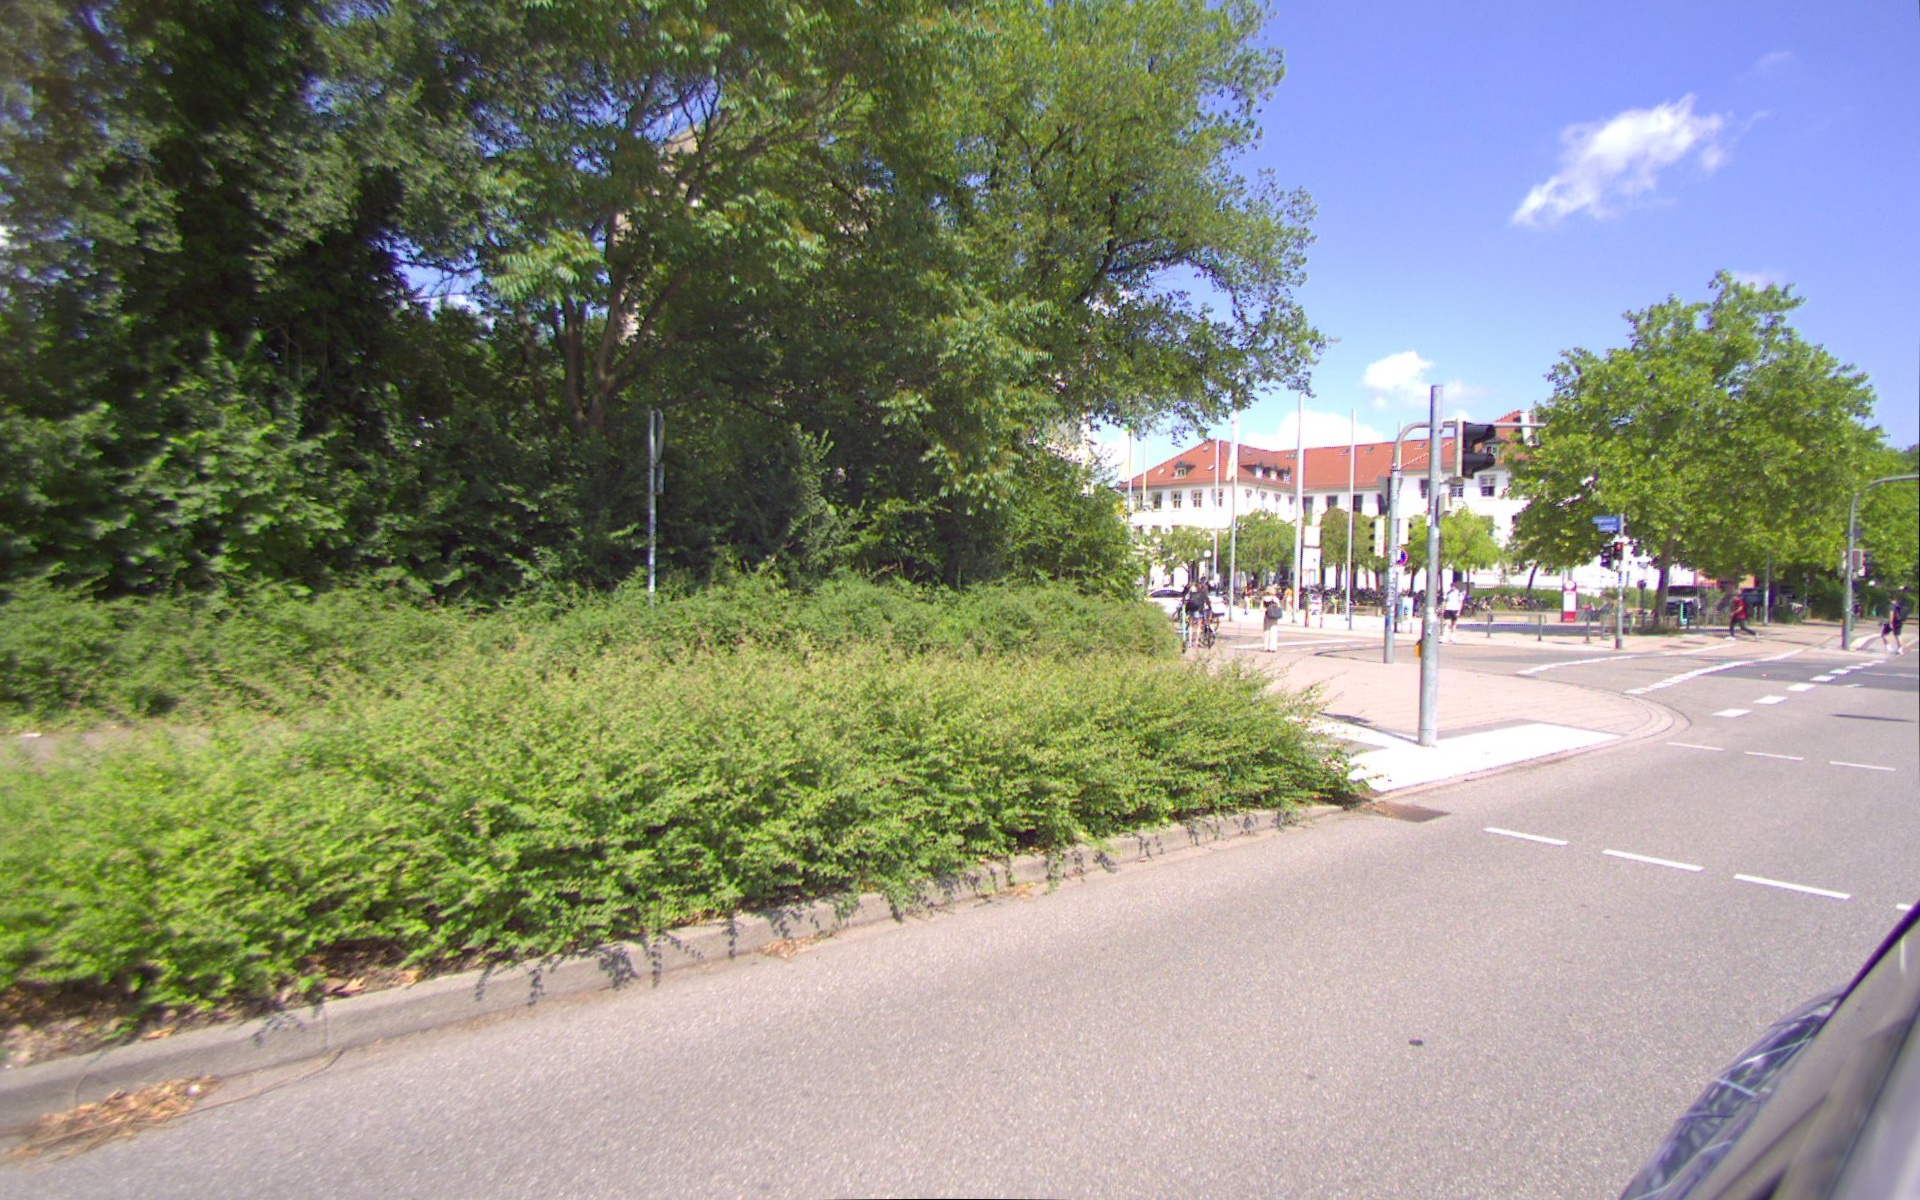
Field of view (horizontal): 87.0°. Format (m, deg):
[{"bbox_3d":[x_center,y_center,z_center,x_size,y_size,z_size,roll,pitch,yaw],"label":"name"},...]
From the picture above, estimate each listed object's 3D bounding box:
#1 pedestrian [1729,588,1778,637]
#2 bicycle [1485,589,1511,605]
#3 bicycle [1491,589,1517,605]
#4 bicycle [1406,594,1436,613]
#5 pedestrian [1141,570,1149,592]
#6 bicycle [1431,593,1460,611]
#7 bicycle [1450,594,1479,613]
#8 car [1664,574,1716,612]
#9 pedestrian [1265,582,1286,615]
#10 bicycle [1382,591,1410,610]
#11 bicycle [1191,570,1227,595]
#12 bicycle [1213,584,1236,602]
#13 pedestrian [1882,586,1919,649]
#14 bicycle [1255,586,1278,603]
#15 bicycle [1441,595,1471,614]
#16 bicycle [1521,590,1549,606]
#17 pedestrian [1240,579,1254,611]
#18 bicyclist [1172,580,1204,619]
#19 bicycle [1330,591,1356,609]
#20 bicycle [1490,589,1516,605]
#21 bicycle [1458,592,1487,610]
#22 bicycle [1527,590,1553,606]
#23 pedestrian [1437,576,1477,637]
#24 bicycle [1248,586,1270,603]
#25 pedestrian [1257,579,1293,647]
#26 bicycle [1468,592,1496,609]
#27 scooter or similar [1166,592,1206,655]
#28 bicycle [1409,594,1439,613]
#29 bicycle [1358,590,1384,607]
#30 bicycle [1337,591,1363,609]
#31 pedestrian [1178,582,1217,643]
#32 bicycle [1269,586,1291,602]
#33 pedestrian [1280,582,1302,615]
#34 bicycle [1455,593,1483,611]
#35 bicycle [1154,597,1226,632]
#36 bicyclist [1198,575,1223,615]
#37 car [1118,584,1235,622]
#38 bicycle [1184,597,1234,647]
[{"bbox_3d":[26.970,0.410,34.412,1.051,1.617,0.964,1,1,23],"label":"pedestrian"},{"bbox_3d":[34.256,-0.183,64.490,1.425,0.963,0.346,2,1,45],"label":"bicycle"},{"bbox_3d":[35.058,-0.201,65.183,1.425,0.963,0.346,2,1,45],"label":"bicycle"},{"bbox_3d":[24.102,0.184,52.881,1.368,0.963,0.346,2,1,45],"label":"bicycle"},{"bbox_3d":[13.374,-1.359,73.136,0.464,1.554,0.563,0,1,-3],"label":"pedestrian"},{"bbox_3d":[25.894,0.101,53.989,1.368,0.963,0.346,2,1,45],"label":"bicycle"},{"bbox_3d":[27.162,0.190,54.496,1.368,0.963,0.346,2,1,45],"label":"bicycle"},{"bbox_3d":[41.278,-0.413,57.211,1.992,2.080,4.166,2,1,41],"label":"car"},{"bbox_3d":[16.081,-0.073,51.555,0.670,1.642,0.837,0,1,-14],"label":"pedestrian"},{"bbox_3d":[23.674,0.032,54.998,1.368,1.013,0.346,2,1,45],"label":"bicycle"},{"bbox_3d":[11.815,-0.827,48.061,0.676,1.148,2.059,1,1,-16],"label":"bicycle"},{"bbox_3d":[16.404,-0.441,62.845,1.365,1.087,0.347,2,1,39],"label":"bicycle"},{"bbox_3d":[30.359,0.547,32.304,0.952,1.950,1.034,0,1,-24],"label":"pedestrian"},{"bbox_3d":[18.637,-0.340,61.532,0.345,0.963,1.371,0,1,-36],"label":"bicycle"},{"bbox_3d":[26.541,0.219,54.156,1.368,0.963,0.346,2,1,45],"label":"bicycle"},{"bbox_3d":[35.889,-0.133,63.184,1.425,0.963,0.346,2,1,45],"label":"bicycle"},{"bbox_3d":[14.529,-0.236,51.235,0.528,1.610,0.436,1,1,-4],"label":"pedestrian"},{"bbox_3d":[7.306,-0.017,32.479,0.828,1.241,0.611,1,1,33],"label":"bicyclist"},{"bbox_3d":[21.619,-0.015,57.149,0.345,0.963,1.371,0,1,-36],"label":"bicycle"},{"bbox_3d":[34.789,-0.192,64.876,1.425,0.963,0.346,2,1,45],"label":"bicycle"},{"bbox_3d":[28.645,0.051,56.551,1.368,0.963,0.346,2,1,45],"label":"bicycle"},{"bbox_3d":[36.646,-0.153,63.948,1.425,0.963,0.346,2,1,45],"label":"bicycle"},{"bbox_3d":[15.971,0.191,32.536,0.956,1.896,0.877,0,1,-45],"label":"pedestrian"},{"bbox_3d":[18.069,-0.328,61.179,0.345,0.963,1.371,0,1,-36],"label":"bicycle"},{"bbox_3d":[7.743,0.319,24.920,0.632,1.646,0.636,0,1,-5],"label":"pedestrian"},{"bbox_3d":[29.523,0.017,57.278,1.368,0.963,0.346,2,1,45],"label":"bicycle"},{"bbox_3d":[4.772,0.483,21.416,0.428,1.249,1.232,3,1,-4],"label":"scooter or similar"},{"bbox_3d":[24.453,0.170,53.330,1.368,0.958,0.346,2,1,45],"label":"bicycle"},{"bbox_3d":[24.513,-0.113,60.343,1.366,0.963,0.347,2,1,42],"label":"bicycle"},{"bbox_3d":[22.059,-0.024,57.291,0.345,0.963,1.371,0,1,-36],"label":"bicycle"},{"bbox_3d":[5.869,0.292,25.006,0.643,1.435,0.789,3,1,-5],"label":"pedestrian"},{"bbox_3d":[20.118,-0.371,63.653,0.345,0.963,1.371,0,1,-36],"label":"bicycle"},{"bbox_3d":[16.978,-0.084,51.945,0.670,1.642,0.837,0,1,-16],"label":"pedestrian"},{"bbox_3d":[28.208,0.082,56.080,1.368,0.963,0.346,1,1,45],"label":"bicycle"},{"bbox_3d":[7.363,0.449,32.447,2.148,1.011,0.640,2,1,33],"label":"bicycle"},{"bbox_3d":[11.855,-0.245,47.846,0.670,1.877,1.090,0,1,-16],"label":"bicyclist"},{"bbox_3d":[8.759,0.084,41.213,1.804,1.415,4.431,0,2,-44],"label":"car"},{"bbox_3d":[6.161,0.517,25.133,0.658,1.157,1.665,3,0,-4],"label":"bicycle"}]
